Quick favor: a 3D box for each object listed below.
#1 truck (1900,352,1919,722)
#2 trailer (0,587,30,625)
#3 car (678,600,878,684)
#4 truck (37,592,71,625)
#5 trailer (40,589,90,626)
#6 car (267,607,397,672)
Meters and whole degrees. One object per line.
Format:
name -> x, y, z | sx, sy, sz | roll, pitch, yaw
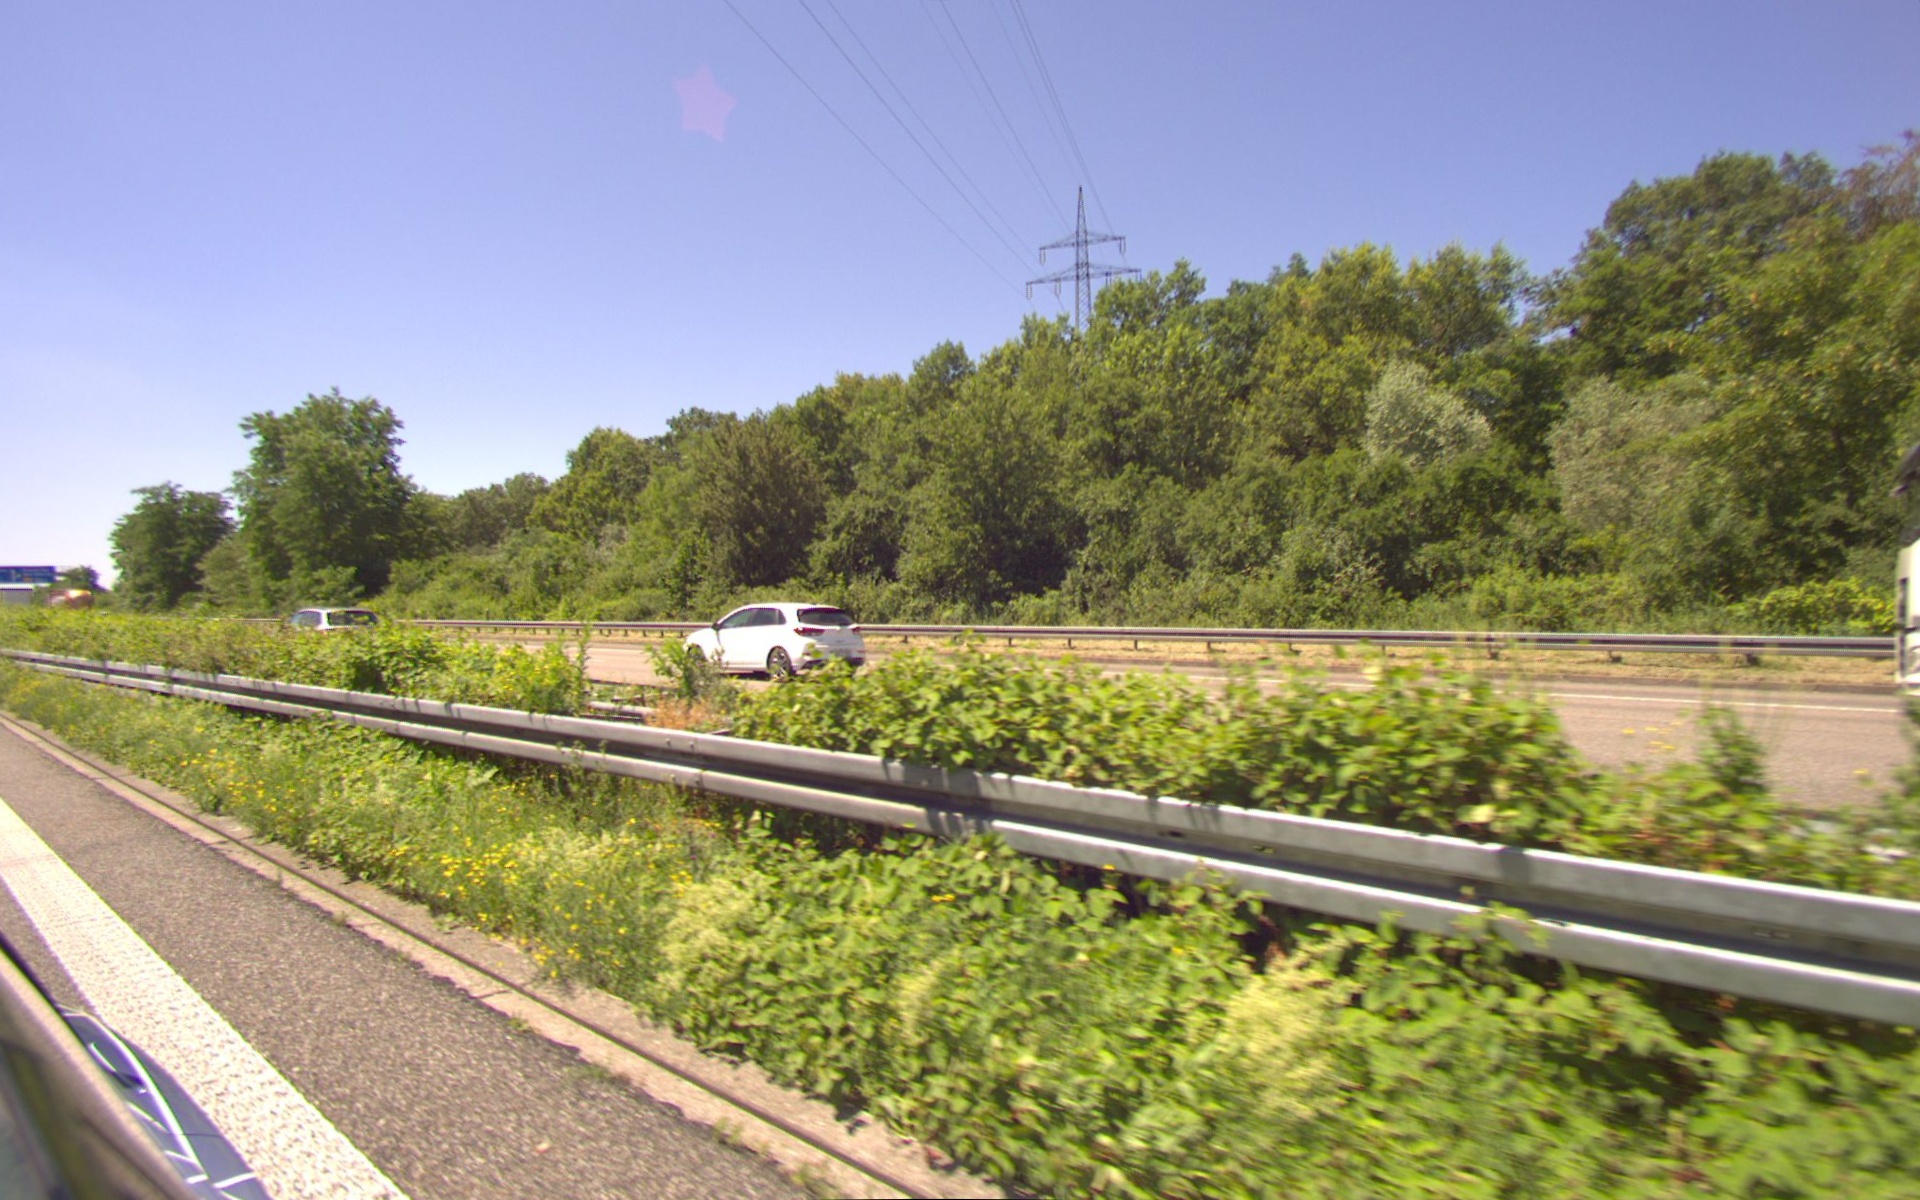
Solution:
truck -> 13.588, -0.683, 9.671 | 6.549, 4.015, 2.633 | -1, -1, 40
trailer -> -104.796, 0.721, 111.170 | 14.394, 3.965, 2.439 | -1, -1, 42
car -> -3.604, 0.761, 19.655 | 4.122, 1.465, 1.647 | -1, -1, 42
truck -> -99.911, 0.930, 111.600 | 4.162, 3.629, 2.332 | -1, -1, 42
trailer -> -94.641, 0.841, 106.914 | 14.215, 3.623, 2.346 | -1, -1, 42
car -> -15.544, 0.934, 24.961 | 4.122, 1.465, 1.647 | -1, -1, 42
